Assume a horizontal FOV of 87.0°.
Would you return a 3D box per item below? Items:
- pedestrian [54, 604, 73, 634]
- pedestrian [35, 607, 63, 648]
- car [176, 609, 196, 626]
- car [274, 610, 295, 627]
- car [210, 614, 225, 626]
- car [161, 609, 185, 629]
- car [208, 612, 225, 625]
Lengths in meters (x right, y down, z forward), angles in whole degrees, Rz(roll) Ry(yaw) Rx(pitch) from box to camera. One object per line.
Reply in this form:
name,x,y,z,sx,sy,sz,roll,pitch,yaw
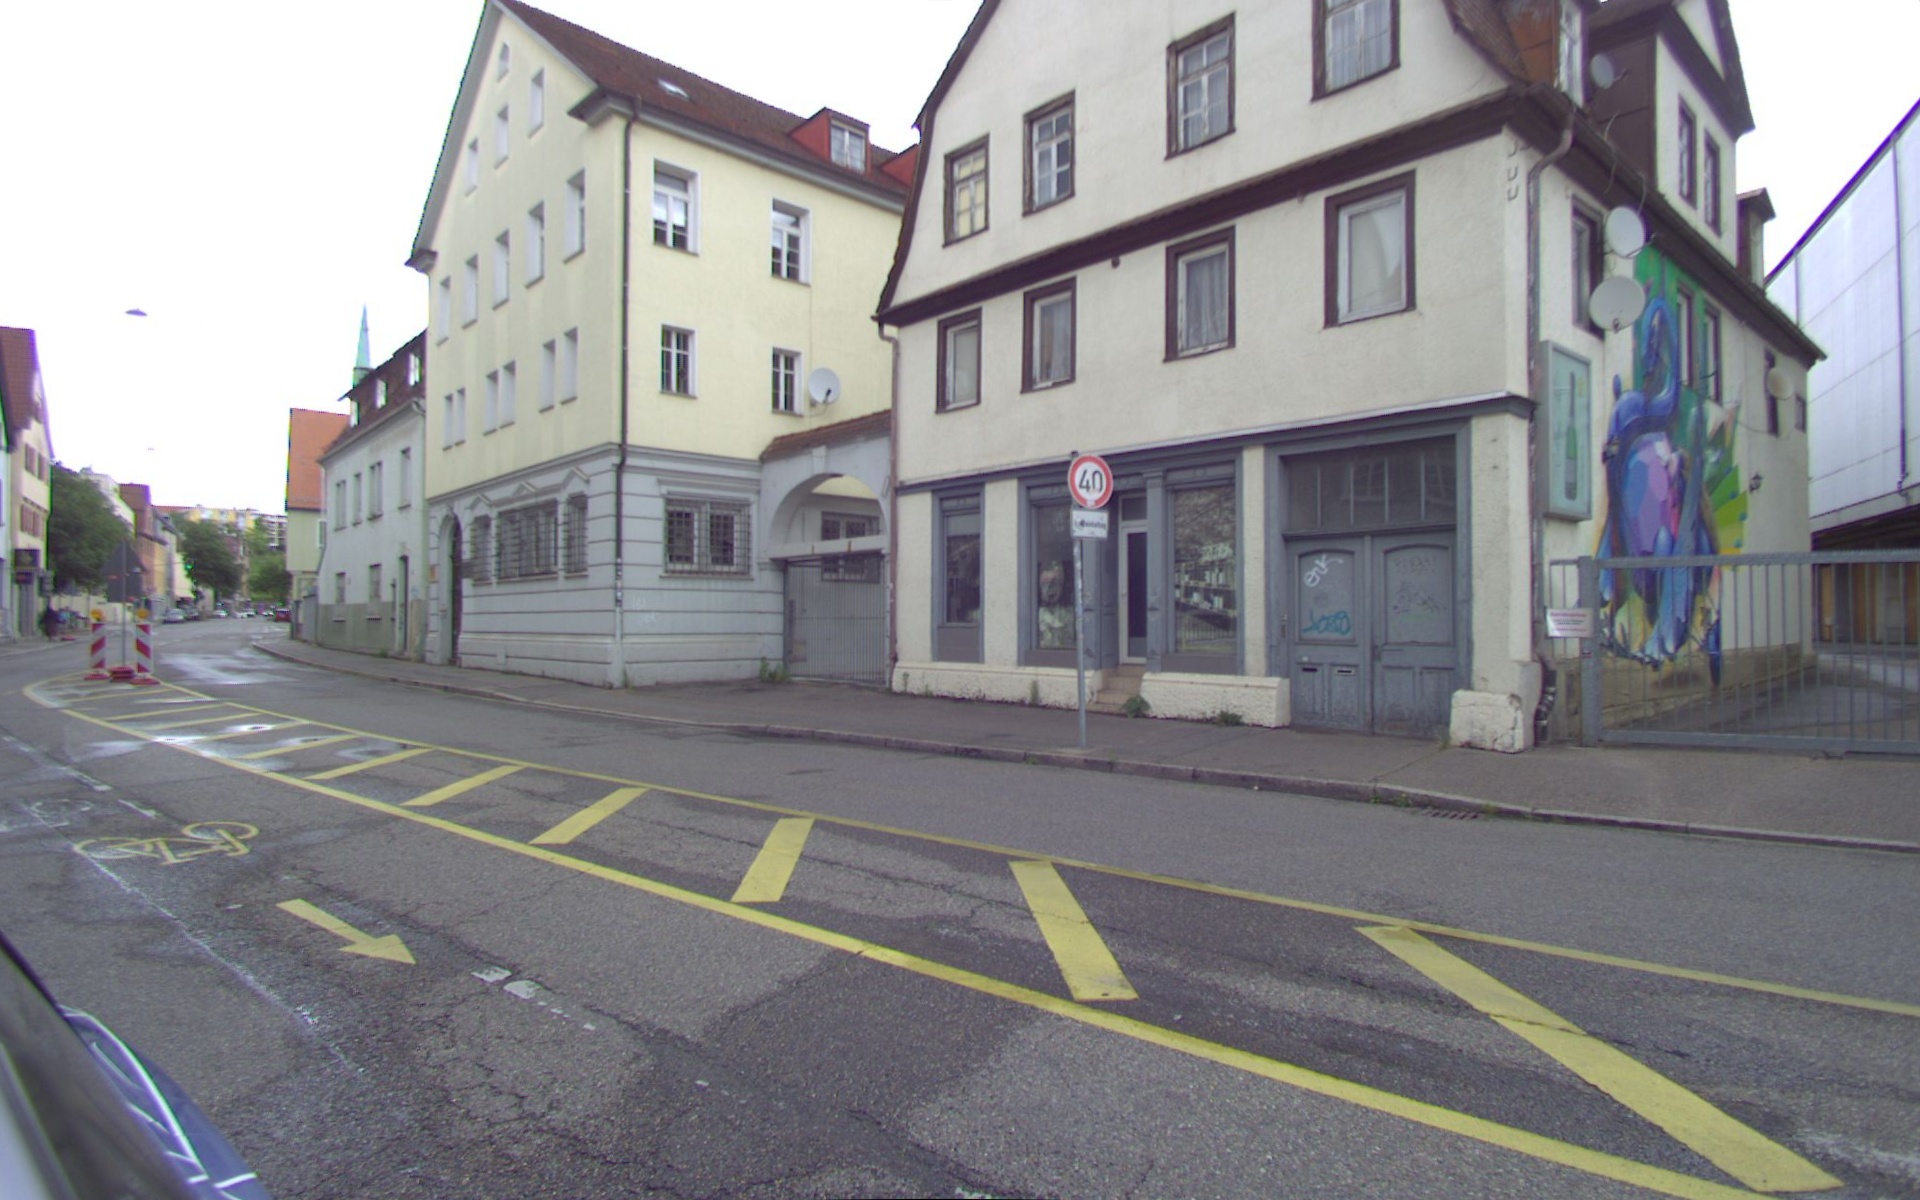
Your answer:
pedestrian,-54.755,1.176,61.830,0.653,1.808,0.559,-1,-2,12
pedestrian,-42.715,1.278,47.444,0.864,1.914,0.899,1,-2,-36
car,-96.954,2.248,126.819,1.967,2.029,4.009,1,-2,-37
car,-85.668,2.330,128.351,2.027,2.029,4.009,1,-2,-37
car,-123.521,3.323,168.284,1.967,2.029,4.009,1,-2,-37
car,-84.795,2.057,109.036,1.967,2.029,4.009,1,-2,-37
car,-114.775,2.861,156.213,1.967,2.029,4.009,1,-2,-37
